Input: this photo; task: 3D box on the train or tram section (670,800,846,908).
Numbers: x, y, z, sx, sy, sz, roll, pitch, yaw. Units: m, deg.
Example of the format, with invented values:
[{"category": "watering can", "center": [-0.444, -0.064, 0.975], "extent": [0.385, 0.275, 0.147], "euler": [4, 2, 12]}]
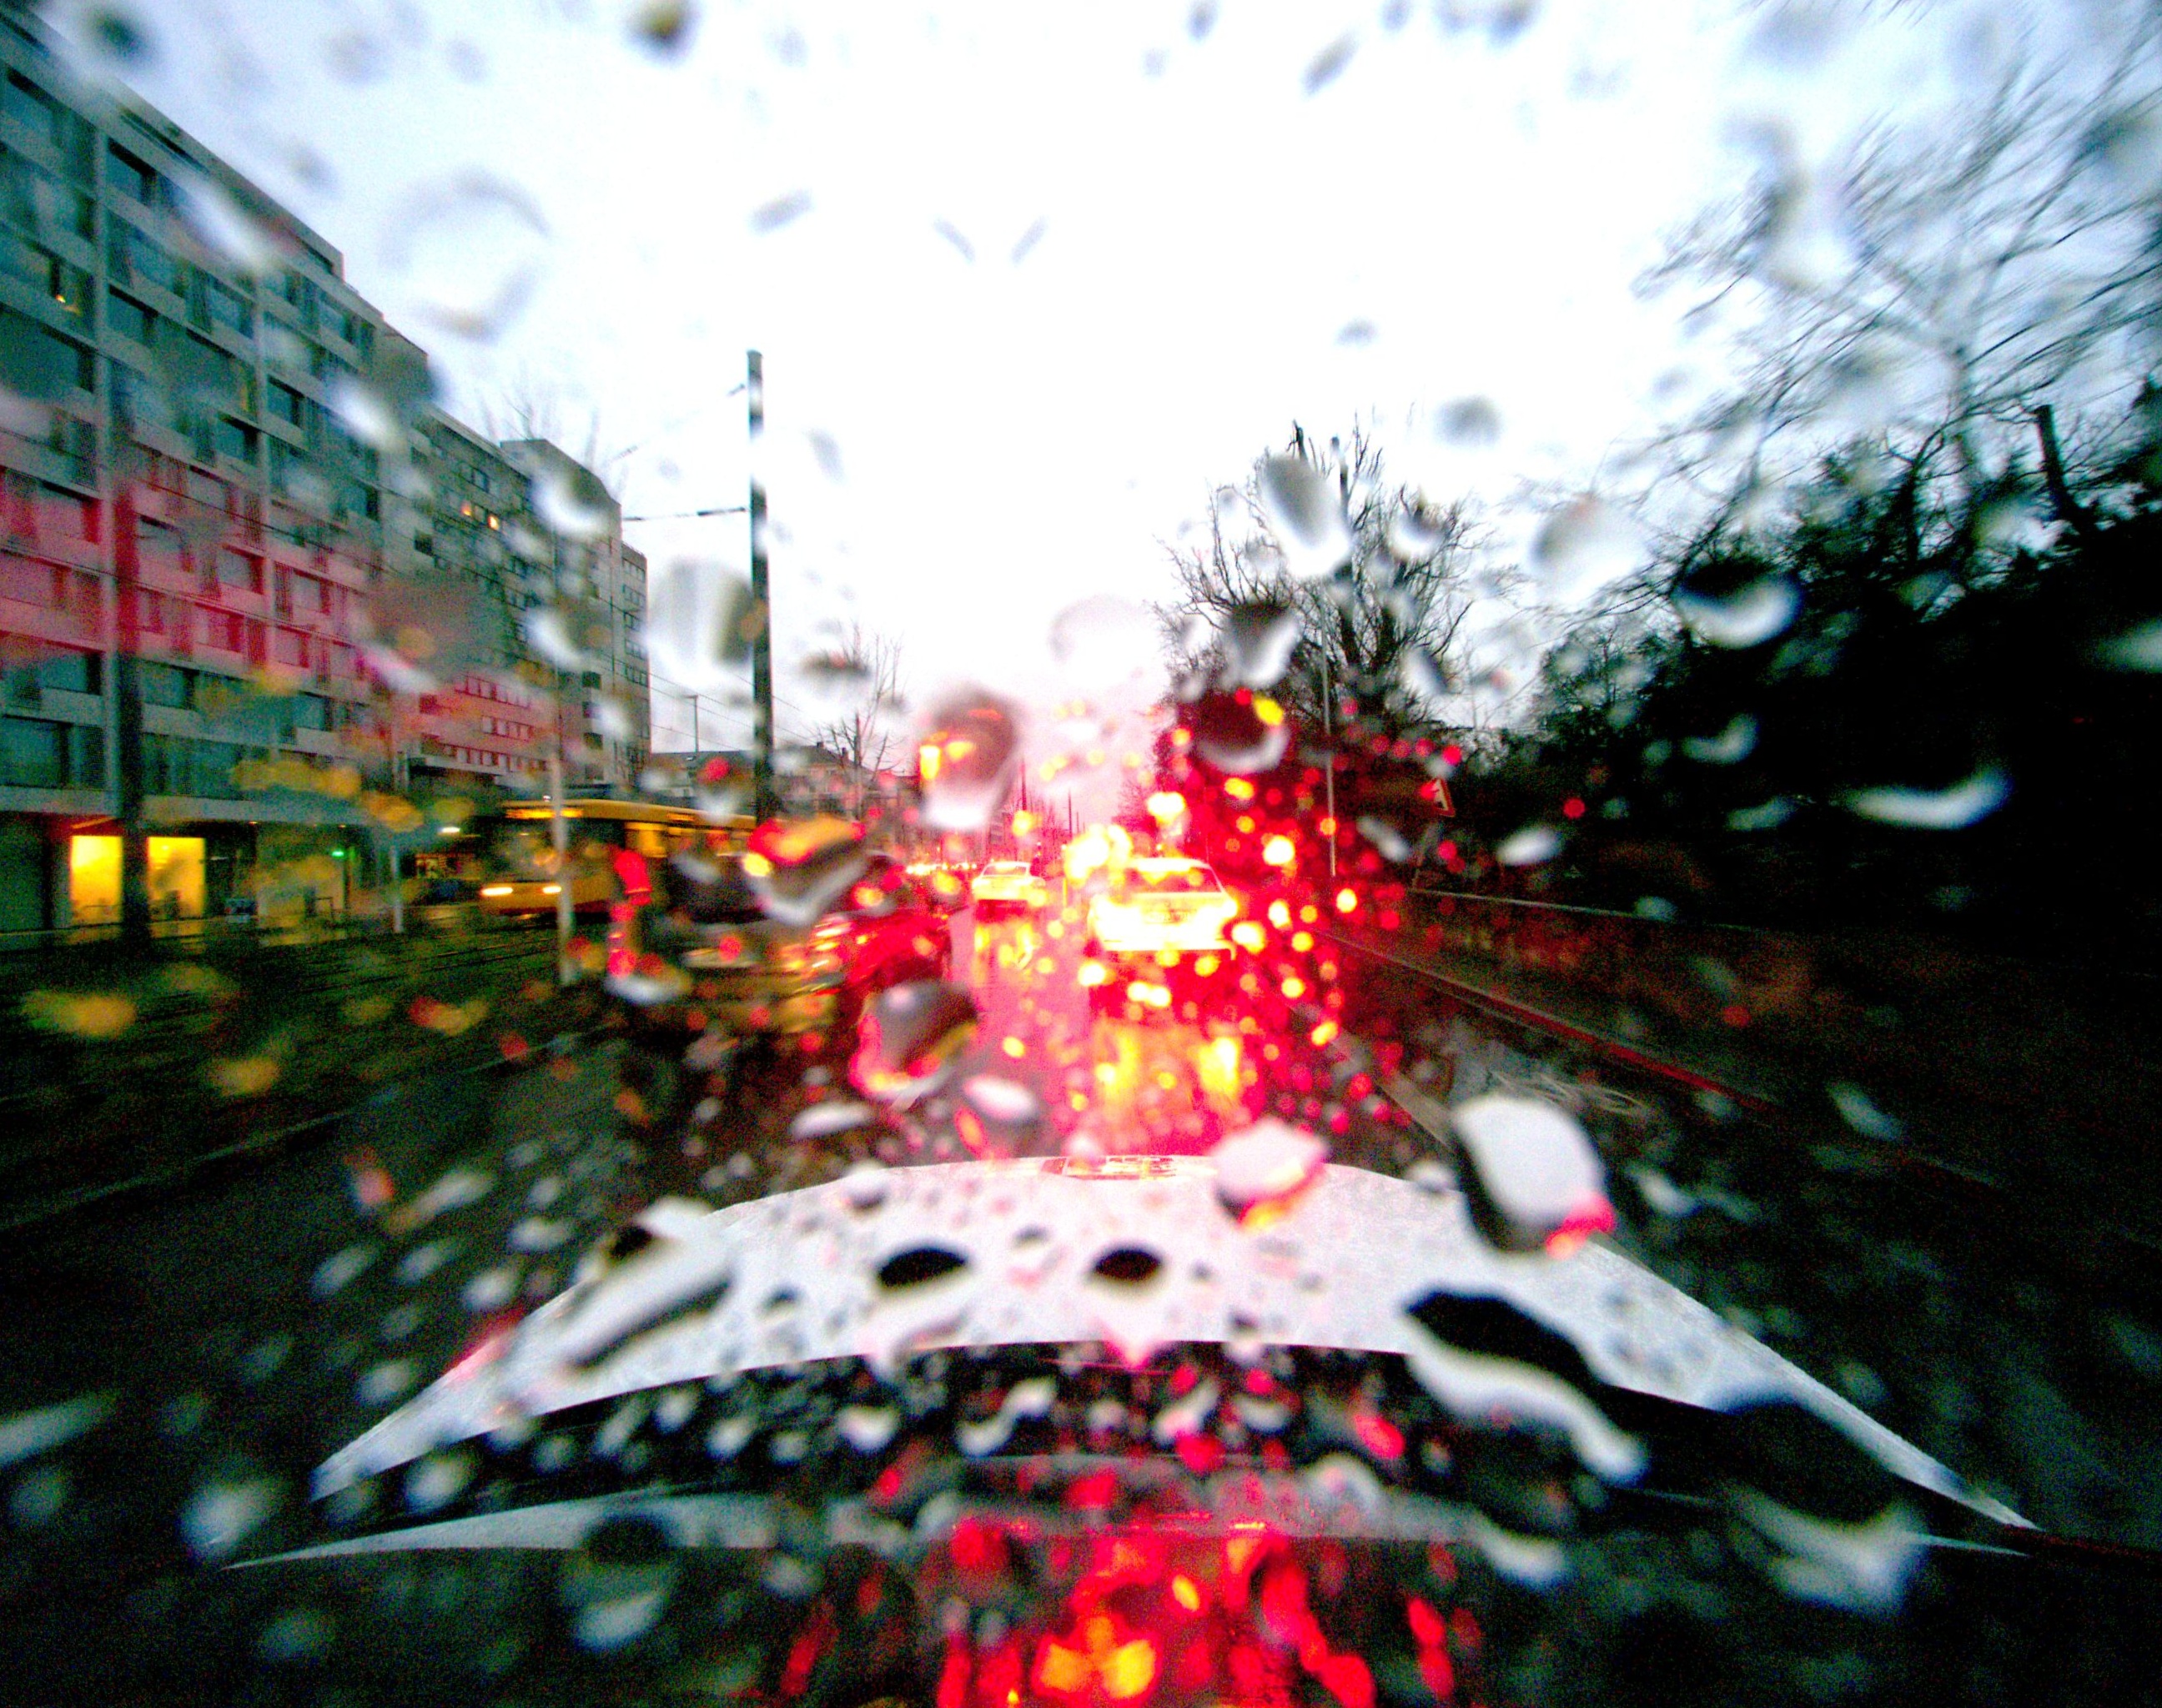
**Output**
[{"category": "train or tram section", "center": [-12.146, 0.030, 31.880], "extent": [2.832, 3.504, 9.161], "euler": [-3, 0, 2]}]

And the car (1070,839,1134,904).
[{"category": "car", "center": [0.732, 0.566, 27.805], "extent": [1.986, 2.014, 4.001], "euler": [-1, 0, 2]}]

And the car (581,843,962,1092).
[{"category": "car", "center": [-2.305, 0.750, 7.280], "extent": [1.753, 1.594, 4.001], "euler": [-1, 0, 2]}]

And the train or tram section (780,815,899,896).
[{"category": "train or tram section", "center": [-11.845, 0.078, 41.064], "extent": [2.832, 3.504, 9.161], "euler": [-3, 0, 2]}]

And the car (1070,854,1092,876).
[{"category": "car", "center": [0.015, 1.016, 77.696], "extent": [1.986, 2.014, 4.001], "euler": [-1, 0, 2]}]

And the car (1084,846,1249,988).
[{"category": "car", "center": [0.953, 0.706, 11.123], "extent": [1.754, 1.552, 4.249], "euler": [-1, 0, -1]}]

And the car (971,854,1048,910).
[{"category": "car", "center": [-1.996, 0.746, 23.815], "extent": [1.753, 1.469, 4.252], "euler": [-1, 0, 1]}]

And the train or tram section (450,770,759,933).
[{"category": "train or tram section", "center": [-12.427, -0.025, 22.702], "extent": [2.832, 3.504, 9.161], "euler": [-3, 0, 2]}]
